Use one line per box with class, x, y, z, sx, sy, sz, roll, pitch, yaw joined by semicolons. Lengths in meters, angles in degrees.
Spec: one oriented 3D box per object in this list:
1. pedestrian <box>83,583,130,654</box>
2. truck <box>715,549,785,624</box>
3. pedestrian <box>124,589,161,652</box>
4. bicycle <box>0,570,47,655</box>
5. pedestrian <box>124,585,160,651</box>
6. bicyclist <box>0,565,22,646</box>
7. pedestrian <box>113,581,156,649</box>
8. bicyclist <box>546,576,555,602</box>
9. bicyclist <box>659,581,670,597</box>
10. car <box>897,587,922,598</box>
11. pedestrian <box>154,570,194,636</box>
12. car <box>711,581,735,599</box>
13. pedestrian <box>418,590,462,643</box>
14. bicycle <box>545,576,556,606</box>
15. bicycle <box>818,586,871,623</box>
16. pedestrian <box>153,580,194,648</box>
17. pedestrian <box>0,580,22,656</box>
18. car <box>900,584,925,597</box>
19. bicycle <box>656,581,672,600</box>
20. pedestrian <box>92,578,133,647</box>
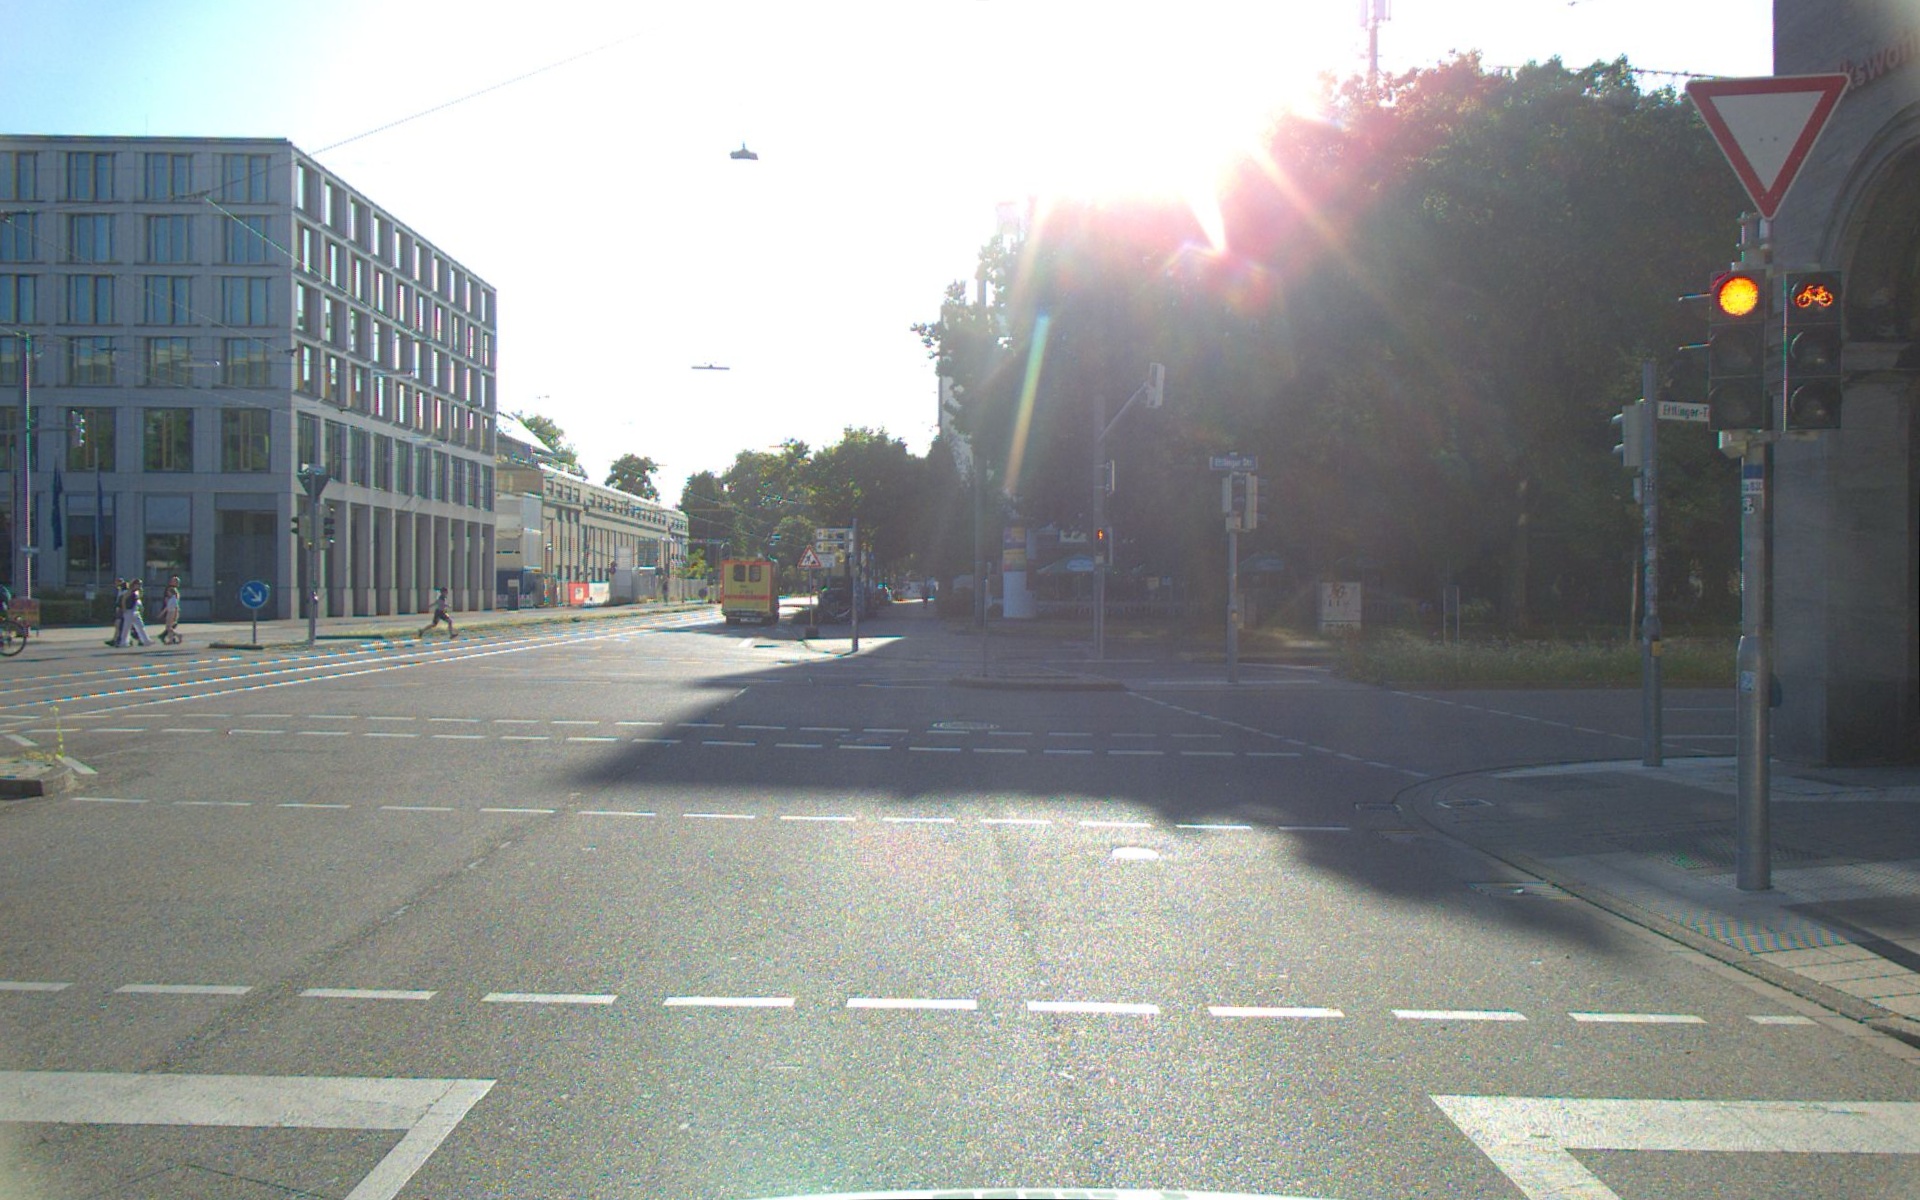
pedestrian;-22.442;0.478;43.495;0.852;1.835;0.664;0;0;4
truck;-8.918;-0.553;70.818;2.663;3.068;6.483;0;0;-4
pedestrian;-21.703;0.541;43.917;0.680;1.673;0.621;0;0;1
bicycle;-20.095;0.256;34.363;1.869;1.765;0.593;0;0;-20
pedestrian;-22.720;0.491;45.929;0.723;1.835;0.532;0;0;4
bicyclist;-20.132;0.118;34.339;1.059;1.669;0.593;0;0;-20
pedestrian;-20.701;0.372;41.493;0.777;1.673;0.620;0;0;-5
bicyclist;-32.141;-0.852;129.737;0.559;2.059;0.761;0;0;-2
bicyclist;-25.009;-0.912;140.129;0.675;1.351;1.000;1;0;2
car;-6.498;-0.973;211.055;3.153;1.285;1.372;1;0;-2
pedestrian;-21.460;0.091;45.164;0.732;1.792;0.678;-1;-1;4
car;-22.304;-0.929;155.754;1.856;1.635;4.498;0;0;-3
pedestrian;-13.359;0.412;42.493;0.975;1.340;0.765;0;0;-10
bicycle;-32.142;-0.701;129.773;0.559;2.336;1.422;0;0;-2
bicycle;-5.669;0.214;81.273;2.495;1.774;1.037;1;0;-1
pedestrian;-21.316;0.376;44.833;0.851;1.835;0.532;0;0;4
pedestrian;-24.731;0.465;42.574;0.785;1.951;0.637;0;0;4
car;-6.116;-1.176;213.365;3.152;1.616;1.445;1;0;-5
bicycle;-25.056;-0.797;140.057;0.675;1.538;2.945;1;0;2
pedestrian;-22.817;0.331;44.543;0.723;1.835;0.716;0;0;4
